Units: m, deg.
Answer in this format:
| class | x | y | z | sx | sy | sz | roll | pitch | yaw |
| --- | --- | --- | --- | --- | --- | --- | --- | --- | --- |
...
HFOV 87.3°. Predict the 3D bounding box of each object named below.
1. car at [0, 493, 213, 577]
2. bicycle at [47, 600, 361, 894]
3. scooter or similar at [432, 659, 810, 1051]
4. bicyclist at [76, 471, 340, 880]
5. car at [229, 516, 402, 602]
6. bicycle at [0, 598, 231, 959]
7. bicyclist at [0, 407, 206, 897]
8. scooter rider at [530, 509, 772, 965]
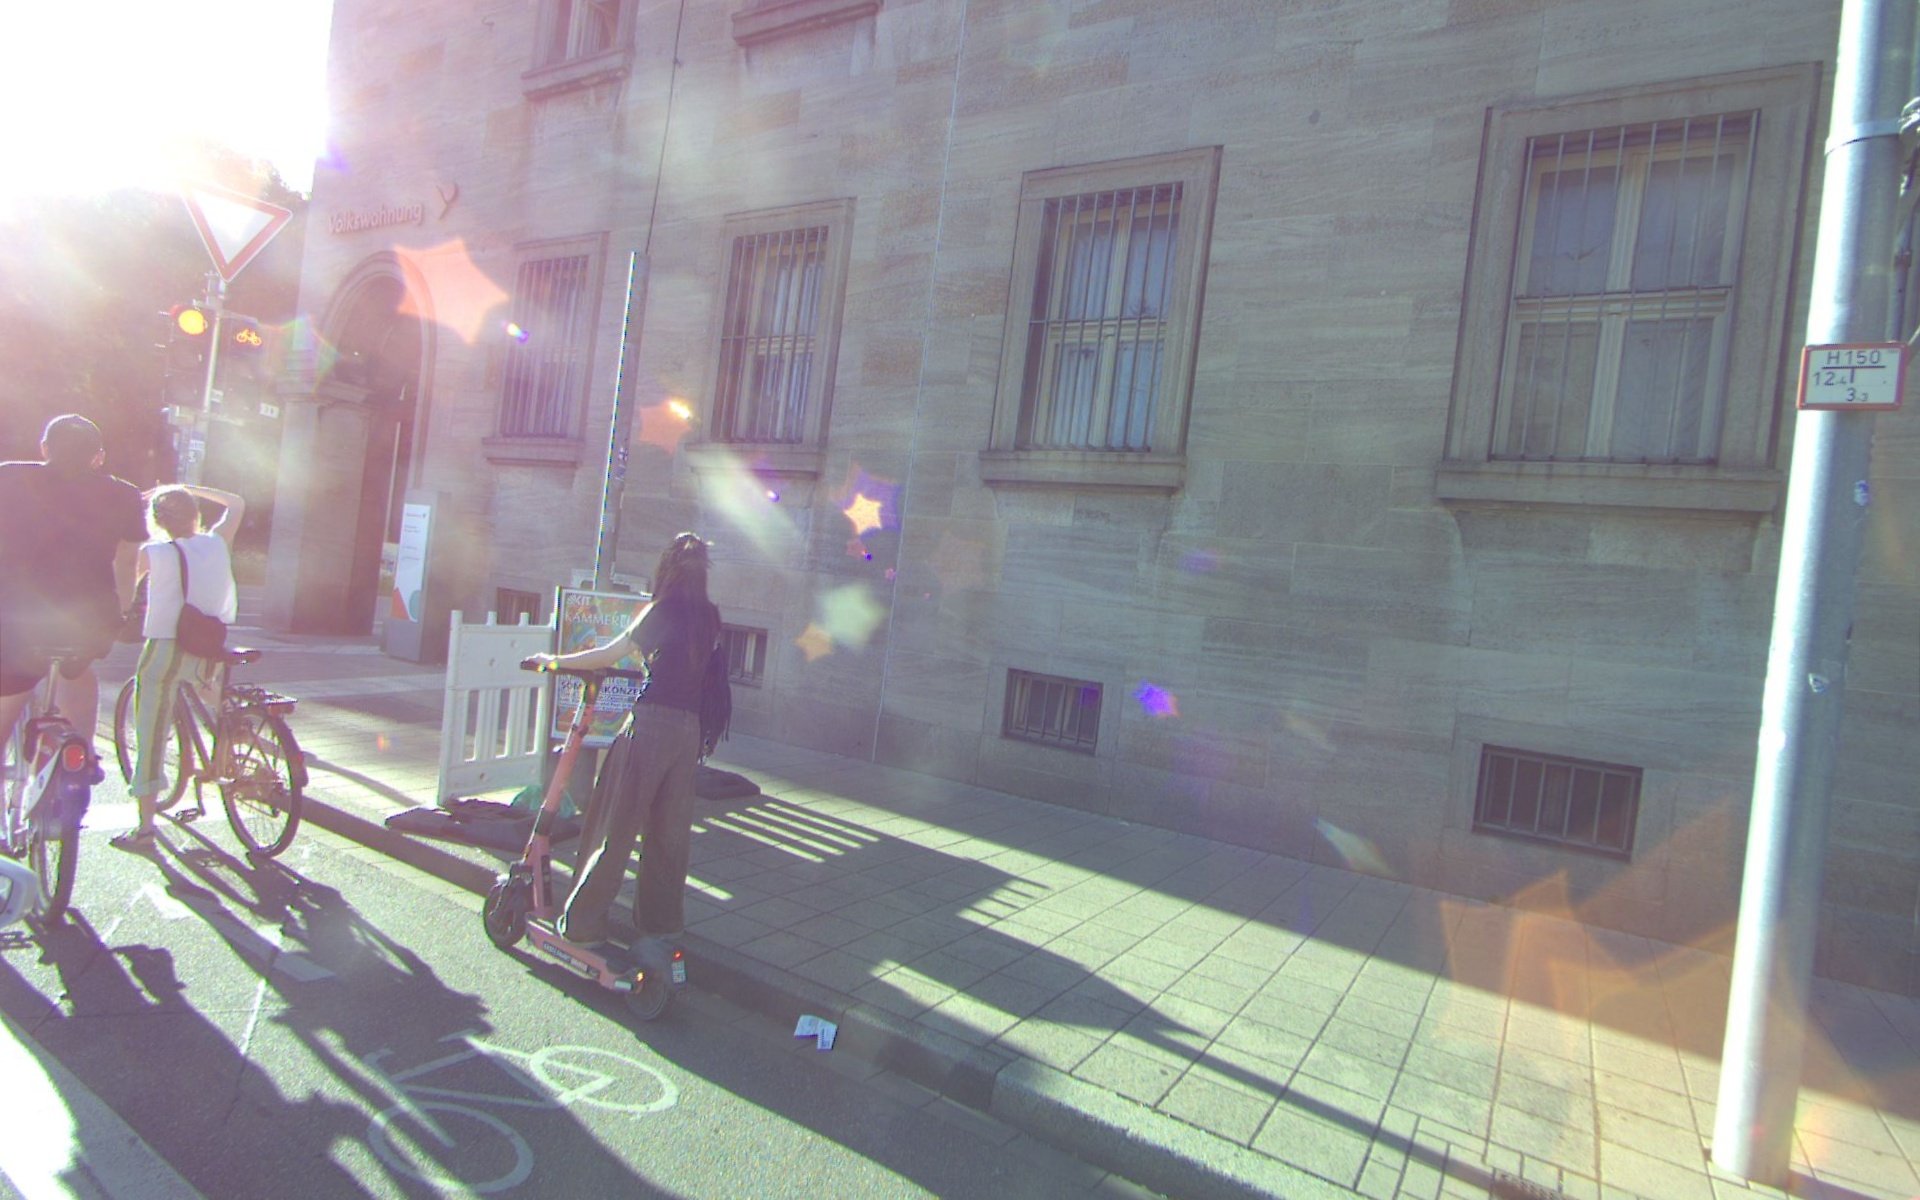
| class | x | y | z | sx | sy | sz | roll | pitch | yaw |
| --- | --- | --- | --- | --- | --- | --- | --- | --- | --- |
| car | -23.472 | -1.745 | 27.343 | 1.967 | 1.533 | 4.586 | 6 | -2 | 32 |
| bicycle | -3.702 | 0.632 | 4.880 | 1.718 | 1.057 | 0.582 | 7 | 0 | 33 |
| scooter or similar | -1.341 | 0.907 | 3.962 | 1.249 | 1.163 | 0.574 | 8 | 0 | 27 |
| bicyclist | -3.635 | 0.319 | 4.859 | 0.934 | 1.760 | 0.584 | 7 | 0 | 32 |
| car | -20.272 | -1.254 | 31.798 | 1.968 | 2.037 | 3.994 | 6 | -2 | 33 |
| bicycle | -3.714 | 0.594 | 3.984 | 1.717 | 1.057 | 0.624 | 7 | 0 | 31 |
| bicyclist | -3.650 | 0.173 | 3.978 | 0.897 | 1.736 | 0.624 | 7 | 0 | 30 |
| scooter rider | -1.192 | 0.486 | 3.867 | 0.542 | 1.581 | 0.570 | 7 | 0 | -41 |
